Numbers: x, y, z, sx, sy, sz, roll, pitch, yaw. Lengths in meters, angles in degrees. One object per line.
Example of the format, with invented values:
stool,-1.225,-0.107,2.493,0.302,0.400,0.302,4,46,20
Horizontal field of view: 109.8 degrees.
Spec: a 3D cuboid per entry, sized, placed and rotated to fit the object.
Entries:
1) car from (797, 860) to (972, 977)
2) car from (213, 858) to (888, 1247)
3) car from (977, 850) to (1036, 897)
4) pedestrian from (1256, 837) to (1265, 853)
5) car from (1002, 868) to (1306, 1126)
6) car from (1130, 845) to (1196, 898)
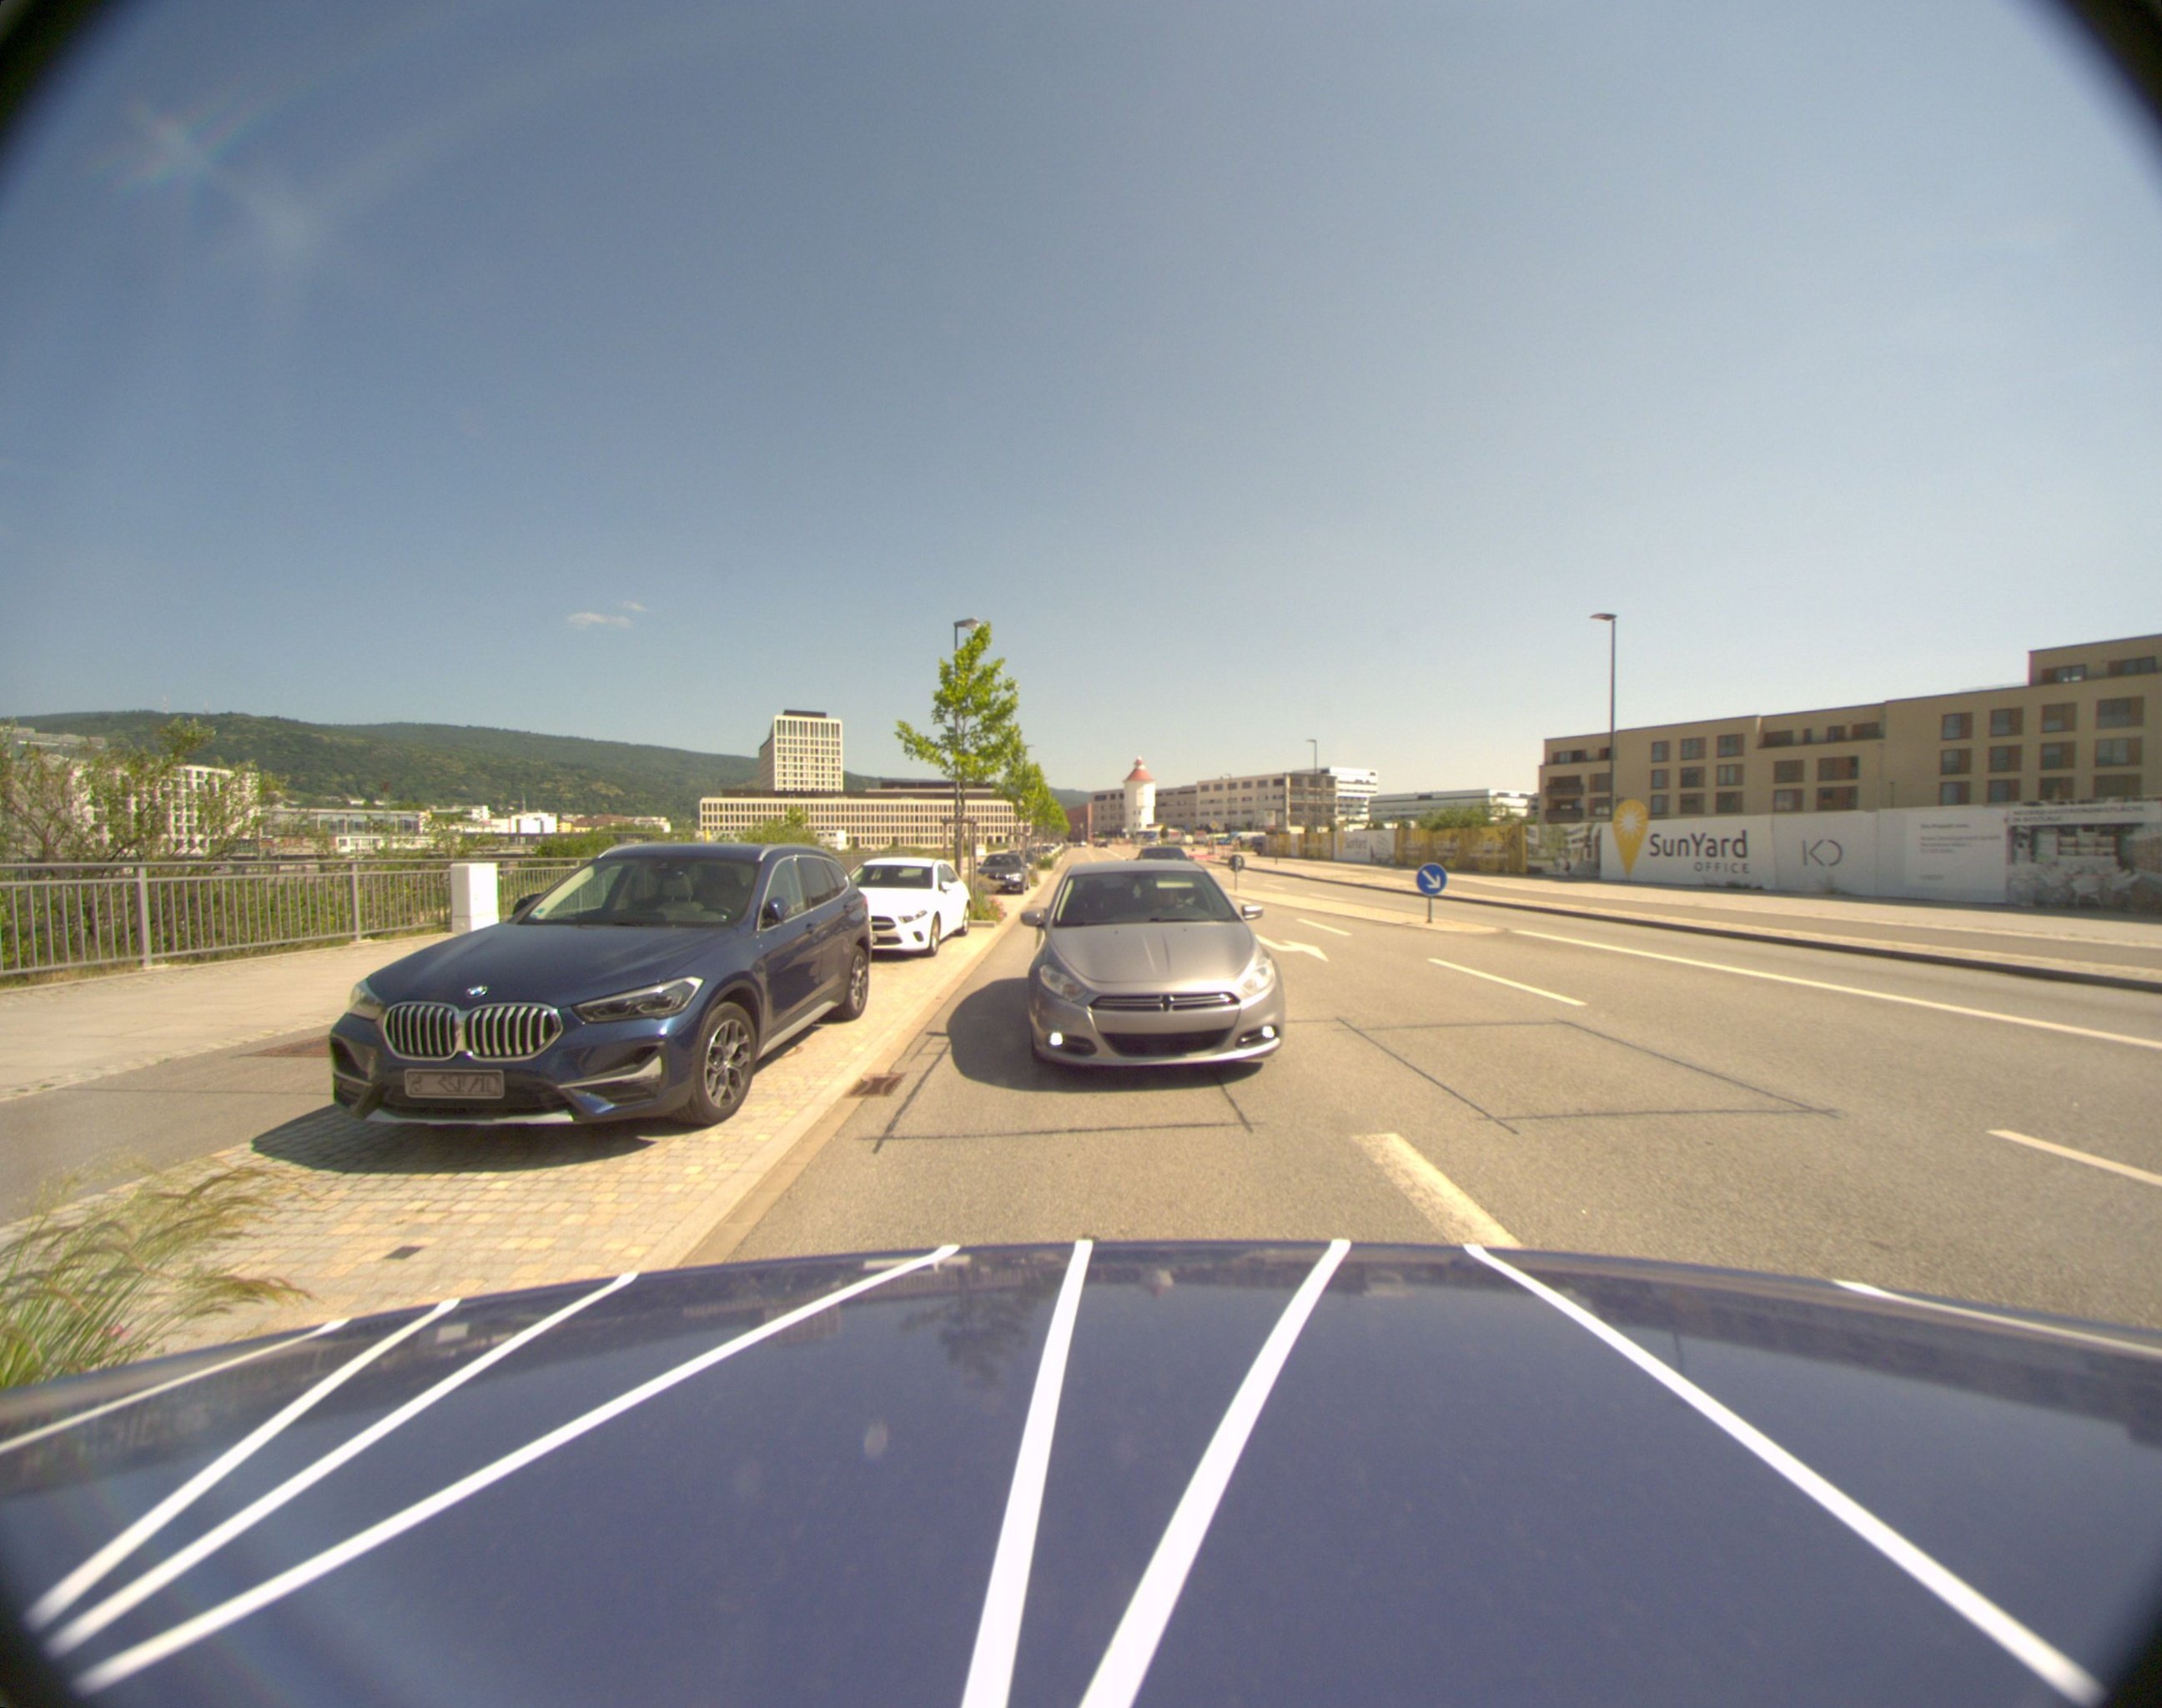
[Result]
car,-2.925,0.882,12.205,1.664,1.447,3.999,-2,1,1
car,-2.875,0.893,5.472,1.769,1.598,4.238,-2,1,1
car,-2.675,0.649,28.042,1.664,1.529,3.999,-2,1,1
pedestrian,18.349,-0.956,77.699,0.705,1.577,0.617,-3,1,-36
car,0.467,0.908,6.653,1.784,1.372,4.135,-2,1,1
car,2.767,0.522,26.376,1.806,1.632,4.365,-2,1,1
